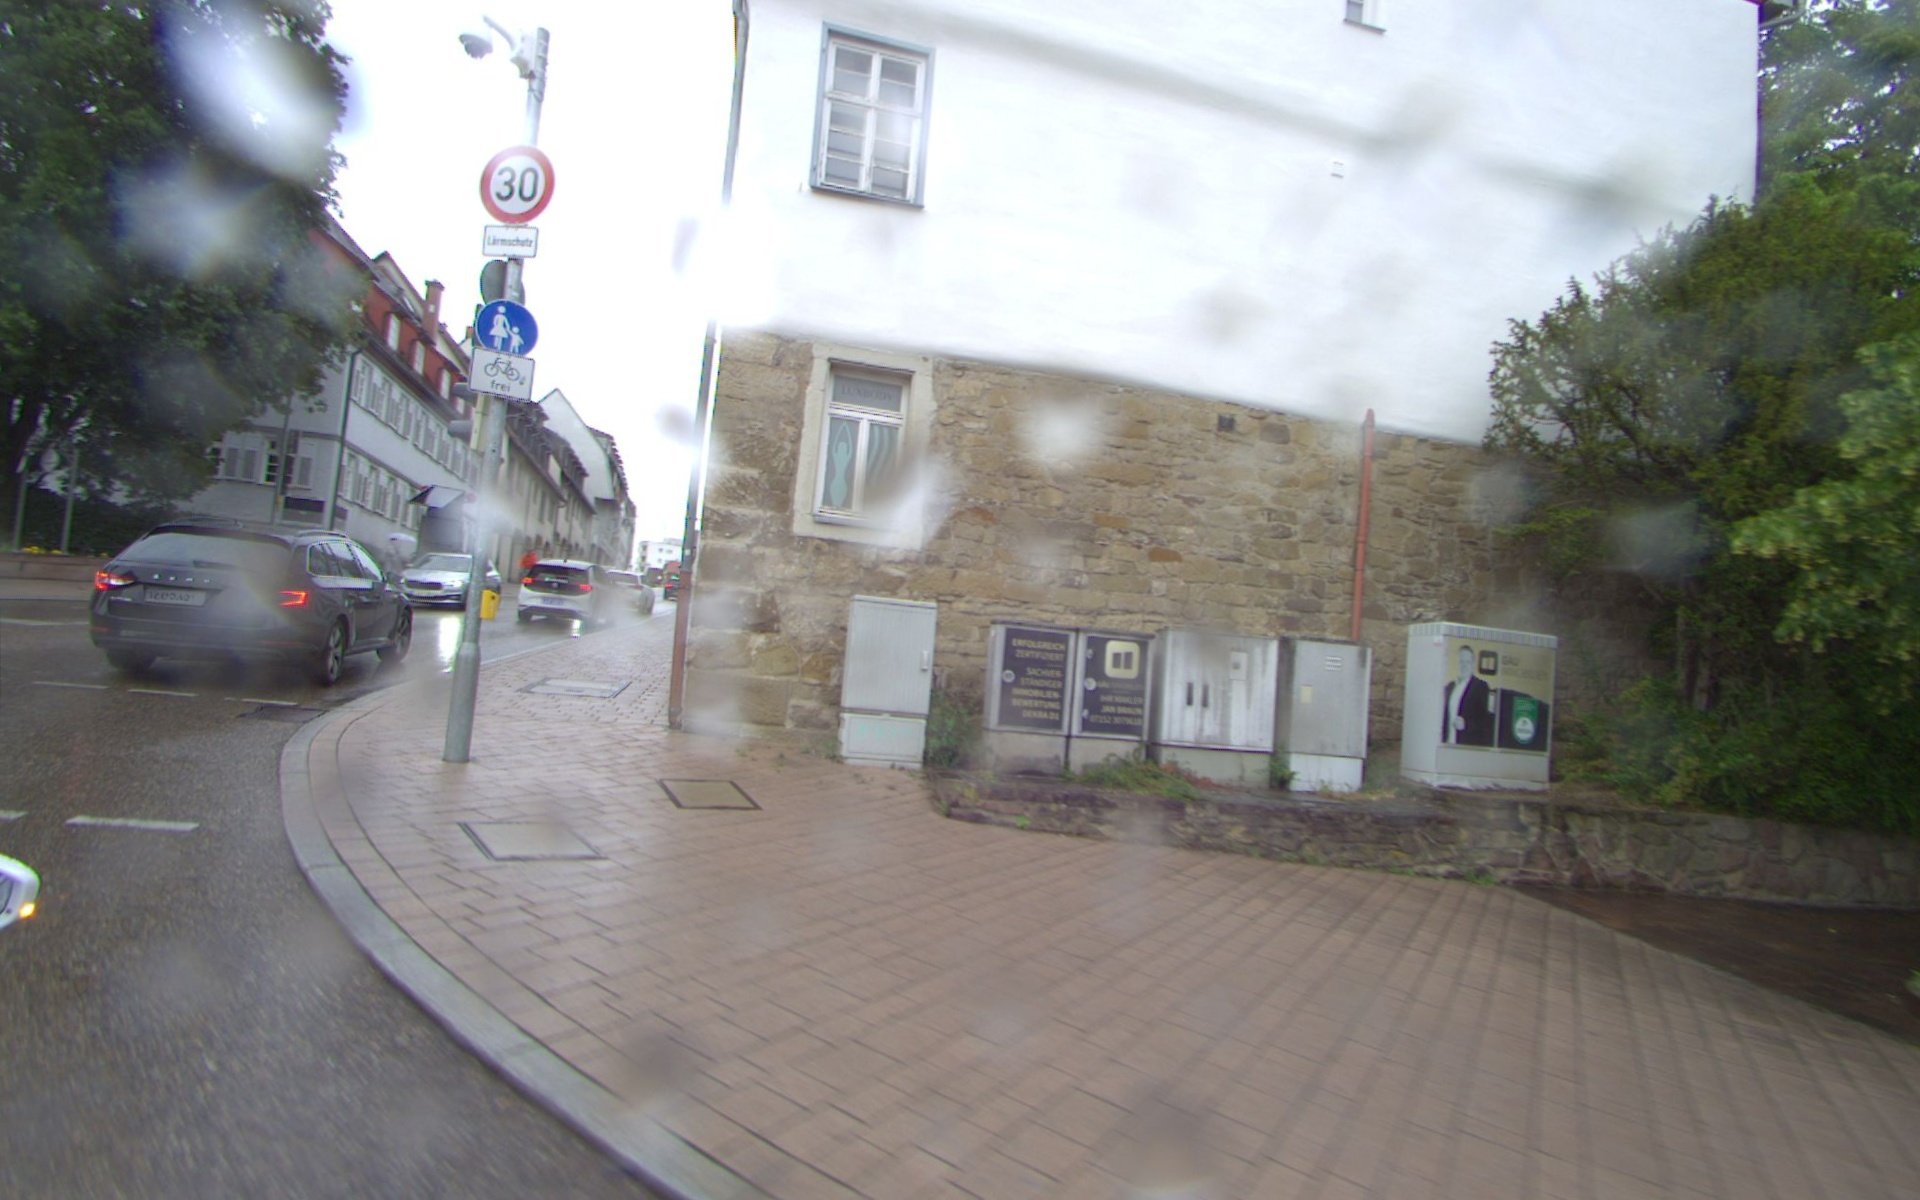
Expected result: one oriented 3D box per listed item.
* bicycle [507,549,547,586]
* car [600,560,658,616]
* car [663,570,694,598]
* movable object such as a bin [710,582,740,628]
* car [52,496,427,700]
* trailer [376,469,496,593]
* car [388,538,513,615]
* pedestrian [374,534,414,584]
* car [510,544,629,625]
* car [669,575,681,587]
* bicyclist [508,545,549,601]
[{"bbox_3d":[-16.841,-1.232,39.208,0.736,1.176,2.158,5,-4,-6],"label":"bicycle"},{"bbox_3d":[-11.831,-0.360,36.152,1.607,1.546,3.996,6,-5,-14],"label":"car"},{"bbox_3d":[-17.851,-1.028,63.897,1.682,1.571,3.595,7,0,-15],"label":"car"},{"bbox_3d":[-6.975,0.155,29.851,0.614,1.214,0.609,4,-12,1],"label":"movable object such as a bin"},{"bbox_3d":[-7.120,-0.071,10.557,1.866,1.465,4.338,8,0,-19],"label":"car"},{"bbox_3d":[-17.396,-2.164,33.661,1.967,3.575,4.566,7,-1,-11],"label":"trailer"},{"bbox_3d":[-13.201,-0.538,26.321,1.639,1.442,3.873,7,-5,-8],"label":"car"},{"bbox_3d":[-19.013,-1.353,33.803,0.698,1.548,1.043,8,0,-9],"label":"pedestrian"},{"bbox_3d":[-9.554,-0.302,24.930,1.831,1.488,3.999,7,-4,-10],"label":"car"},{"bbox_3d":[-44.049,-2.957,155.607,1.607,1.548,3.988,7,0,-14],"label":"car"},{"bbox_3d":[-16.856,-1.039,39.306,1.120,2.035,0.881,4,-4,-7],"label":"bicyclist"}]
